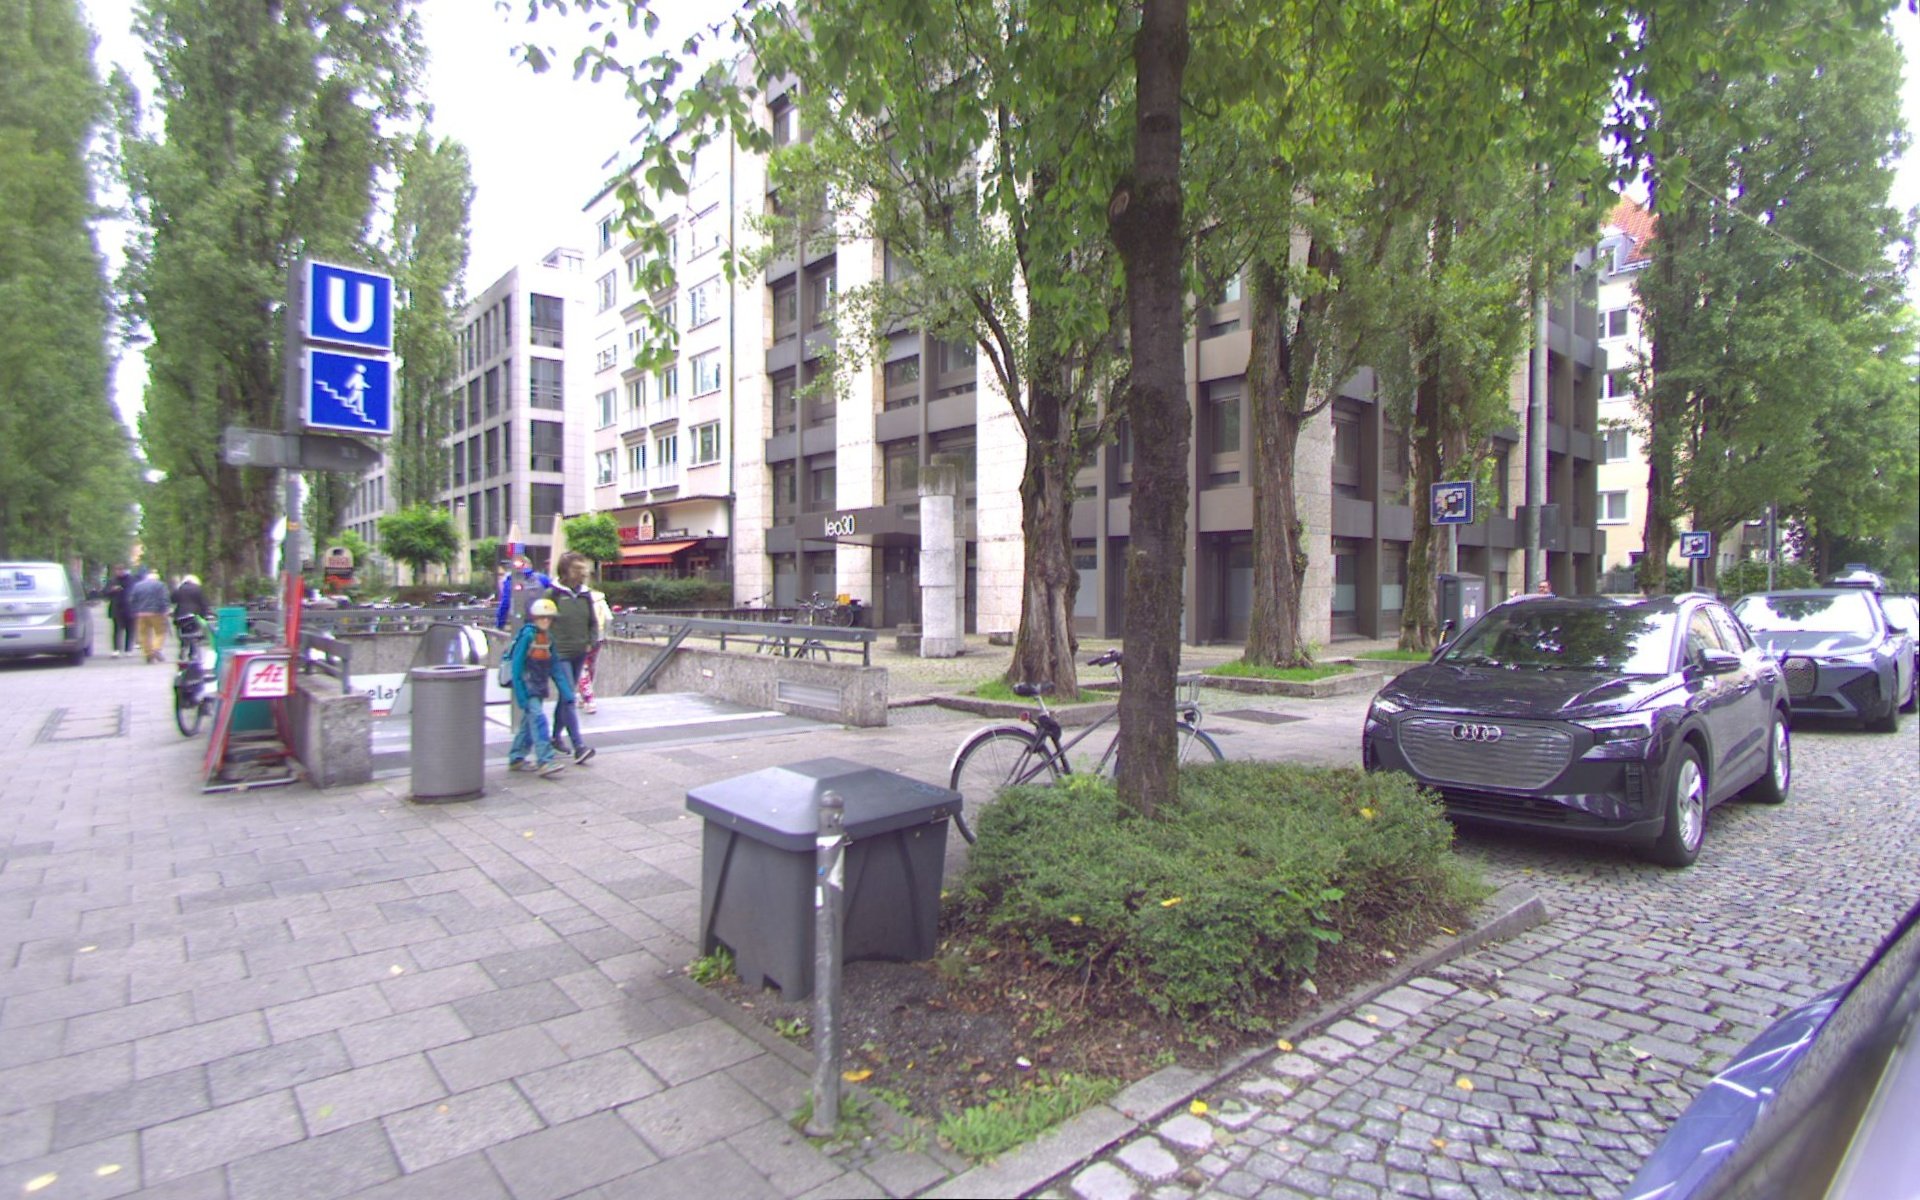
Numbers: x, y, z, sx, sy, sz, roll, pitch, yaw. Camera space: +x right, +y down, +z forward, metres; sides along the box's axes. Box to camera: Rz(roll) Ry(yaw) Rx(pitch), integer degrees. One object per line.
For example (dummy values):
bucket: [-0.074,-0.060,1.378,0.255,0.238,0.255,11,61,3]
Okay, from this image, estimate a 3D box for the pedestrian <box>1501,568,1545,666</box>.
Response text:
pedestrian: [9.706,0.280,17.437,0.558,1.649,0.490,0,0,-38]

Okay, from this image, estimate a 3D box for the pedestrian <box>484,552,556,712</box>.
pedestrian: [-4.950,0.335,11.366,0.651,1.717,0.807,0,0,-31]

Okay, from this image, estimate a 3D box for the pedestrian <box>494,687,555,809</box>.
pedestrian: [-6.782,2.283,15.760,0.700,1.746,0.669,0,0,-41]

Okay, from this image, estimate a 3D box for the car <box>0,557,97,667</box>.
car: [-18.176,0.179,19.810,1.782,1.920,5.198,0,1,-39]

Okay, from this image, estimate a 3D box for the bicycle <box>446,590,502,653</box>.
bicycle: [-9.581,0.399,19.927,0.577,1.174,1.867,0,0,-39]

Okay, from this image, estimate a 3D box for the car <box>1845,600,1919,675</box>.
car: [20.017,0.723,21.149,4.133,1.408,1.721,-1,-2,-41]

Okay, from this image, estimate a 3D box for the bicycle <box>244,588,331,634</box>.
bicycle: [-17.438,0.270,26.272,1.835,1.174,0.587,0,0,-39]

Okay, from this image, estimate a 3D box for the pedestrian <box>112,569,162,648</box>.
pedestrian: [-20.414,0.197,25.125,0.902,1.890,1.014,0,0,-35]

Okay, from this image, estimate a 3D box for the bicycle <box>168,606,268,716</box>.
bicycle: [-8.729,0.671,11.880,1.862,1.174,0.579,0,0,42]

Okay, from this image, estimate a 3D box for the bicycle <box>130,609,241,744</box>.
bicycle: [-7.619,0.695,10.022,0.576,1.174,1.872,0,0,-28]

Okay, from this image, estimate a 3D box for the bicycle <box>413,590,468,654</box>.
bicycle: [-10.044,0.396,19.536,0.577,1.174,1.867,0,0,-39]

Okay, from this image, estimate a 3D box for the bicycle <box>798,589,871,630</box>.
bicycle: [-3.782,0.267,30.531,2.207,1.170,0.647,0,1,-41]

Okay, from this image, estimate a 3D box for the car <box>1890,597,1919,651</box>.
car: [26.941,0.628,27.568,3.807,1.405,1.996,-1,0,-42]

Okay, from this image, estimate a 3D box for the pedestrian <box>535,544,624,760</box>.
pedestrian: [-3.205,0.410,8.500,0.650,1.722,0.692,0,0,-25]

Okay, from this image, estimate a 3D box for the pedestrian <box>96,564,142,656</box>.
pedestrian: [-17.403,0.191,20.953,0.687,1.864,0.706,0,0,-37]

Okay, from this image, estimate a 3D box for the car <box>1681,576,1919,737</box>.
car: [11.186,0.592,13.187,4.594,1.722,2.015,-1,0,-43]

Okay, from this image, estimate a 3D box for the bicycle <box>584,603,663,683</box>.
bicycle: [-5.356,0.643,16.044,0.577,1.174,1.867,0,0,-39]

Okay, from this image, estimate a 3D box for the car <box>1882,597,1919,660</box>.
car: [23.536,0.653,24.362,3.501,1.449,1.602,0,-2,-42]

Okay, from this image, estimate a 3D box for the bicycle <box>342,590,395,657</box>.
bicycle: [-10.982,0.402,18.759,0.577,1.174,1.867,0,0,-39]

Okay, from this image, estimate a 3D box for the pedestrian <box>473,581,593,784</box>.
pedestrian: [-3.256,0.576,7.700,0.801,1.437,0.772,0,1,-25]

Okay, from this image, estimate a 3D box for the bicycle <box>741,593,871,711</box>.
bicycle: [-1.879,0.568,12.141,0.709,1.292,1.867,0,0,-39]

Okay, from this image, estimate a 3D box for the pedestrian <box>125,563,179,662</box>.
pedestrian: [-15.213,0.224,19.077,0.736,1.826,0.843,0,0,-35]

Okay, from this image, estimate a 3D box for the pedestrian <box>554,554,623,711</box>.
pedestrian: [-4.231,0.346,11.501,0.598,1.701,0.846,0,0,-31]

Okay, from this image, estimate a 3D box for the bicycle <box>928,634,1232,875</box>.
bicycle: [0.729,0.799,5.782,1.839,1.151,0.476,0,0,-32]

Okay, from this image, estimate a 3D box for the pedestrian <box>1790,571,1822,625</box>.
pedestrian: [24.450,-0.061,29.256,0.697,1.556,0.644,0,0,-44]

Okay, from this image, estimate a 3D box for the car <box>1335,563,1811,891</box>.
car: [4.661,0.651,7.427,4.130,1.722,1.922,-1,0,-43]

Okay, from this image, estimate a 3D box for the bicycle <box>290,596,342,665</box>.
bicycle: [-11.555,0.517,18.135,0.577,1.174,1.867,0,0,-39]

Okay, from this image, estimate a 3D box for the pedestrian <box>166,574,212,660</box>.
pedestrian: [-14.912,0.314,19.588,0.685,1.626,0.833,0,0,-35]

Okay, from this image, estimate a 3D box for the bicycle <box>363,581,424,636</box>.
bicycle: [-14.420,0.215,25.747,1.857,1.175,0.580,-9,-5,36]

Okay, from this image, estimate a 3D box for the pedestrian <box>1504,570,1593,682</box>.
pedestrian: [9.438,0.393,16.239,0.893,1.735,0.871,0,0,-21]

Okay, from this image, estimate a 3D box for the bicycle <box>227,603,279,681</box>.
bicycle: [-11.676,0.658,16.697,0.577,1.174,1.982,0,0,-39]

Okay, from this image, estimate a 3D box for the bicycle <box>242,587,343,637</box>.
bicycle: [-16.010,0.266,24.296,1.995,1.174,0.587,-1,0,-39]

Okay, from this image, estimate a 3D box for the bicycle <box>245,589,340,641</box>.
bicycle: [-15.679,0.327,23.789,1.835,1.174,0.587,-1,0,-39]

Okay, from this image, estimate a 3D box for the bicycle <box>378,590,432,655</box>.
bicycle: [-10.518,0.397,19.149,0.577,1.174,1.867,0,0,-39]

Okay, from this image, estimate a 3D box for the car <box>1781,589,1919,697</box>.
car: [15.436,0.629,16.977,4.268,1.603,1.996,0,0,-43]

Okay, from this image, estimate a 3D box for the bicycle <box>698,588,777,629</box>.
bicycle: [-6.504,0.235,29.666,2.207,1.170,0.647,0,1,-41]

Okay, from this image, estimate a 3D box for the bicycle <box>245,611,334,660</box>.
bicycle: [-17.065,0.882,25.779,1.835,1.174,0.587,0,0,-39]
